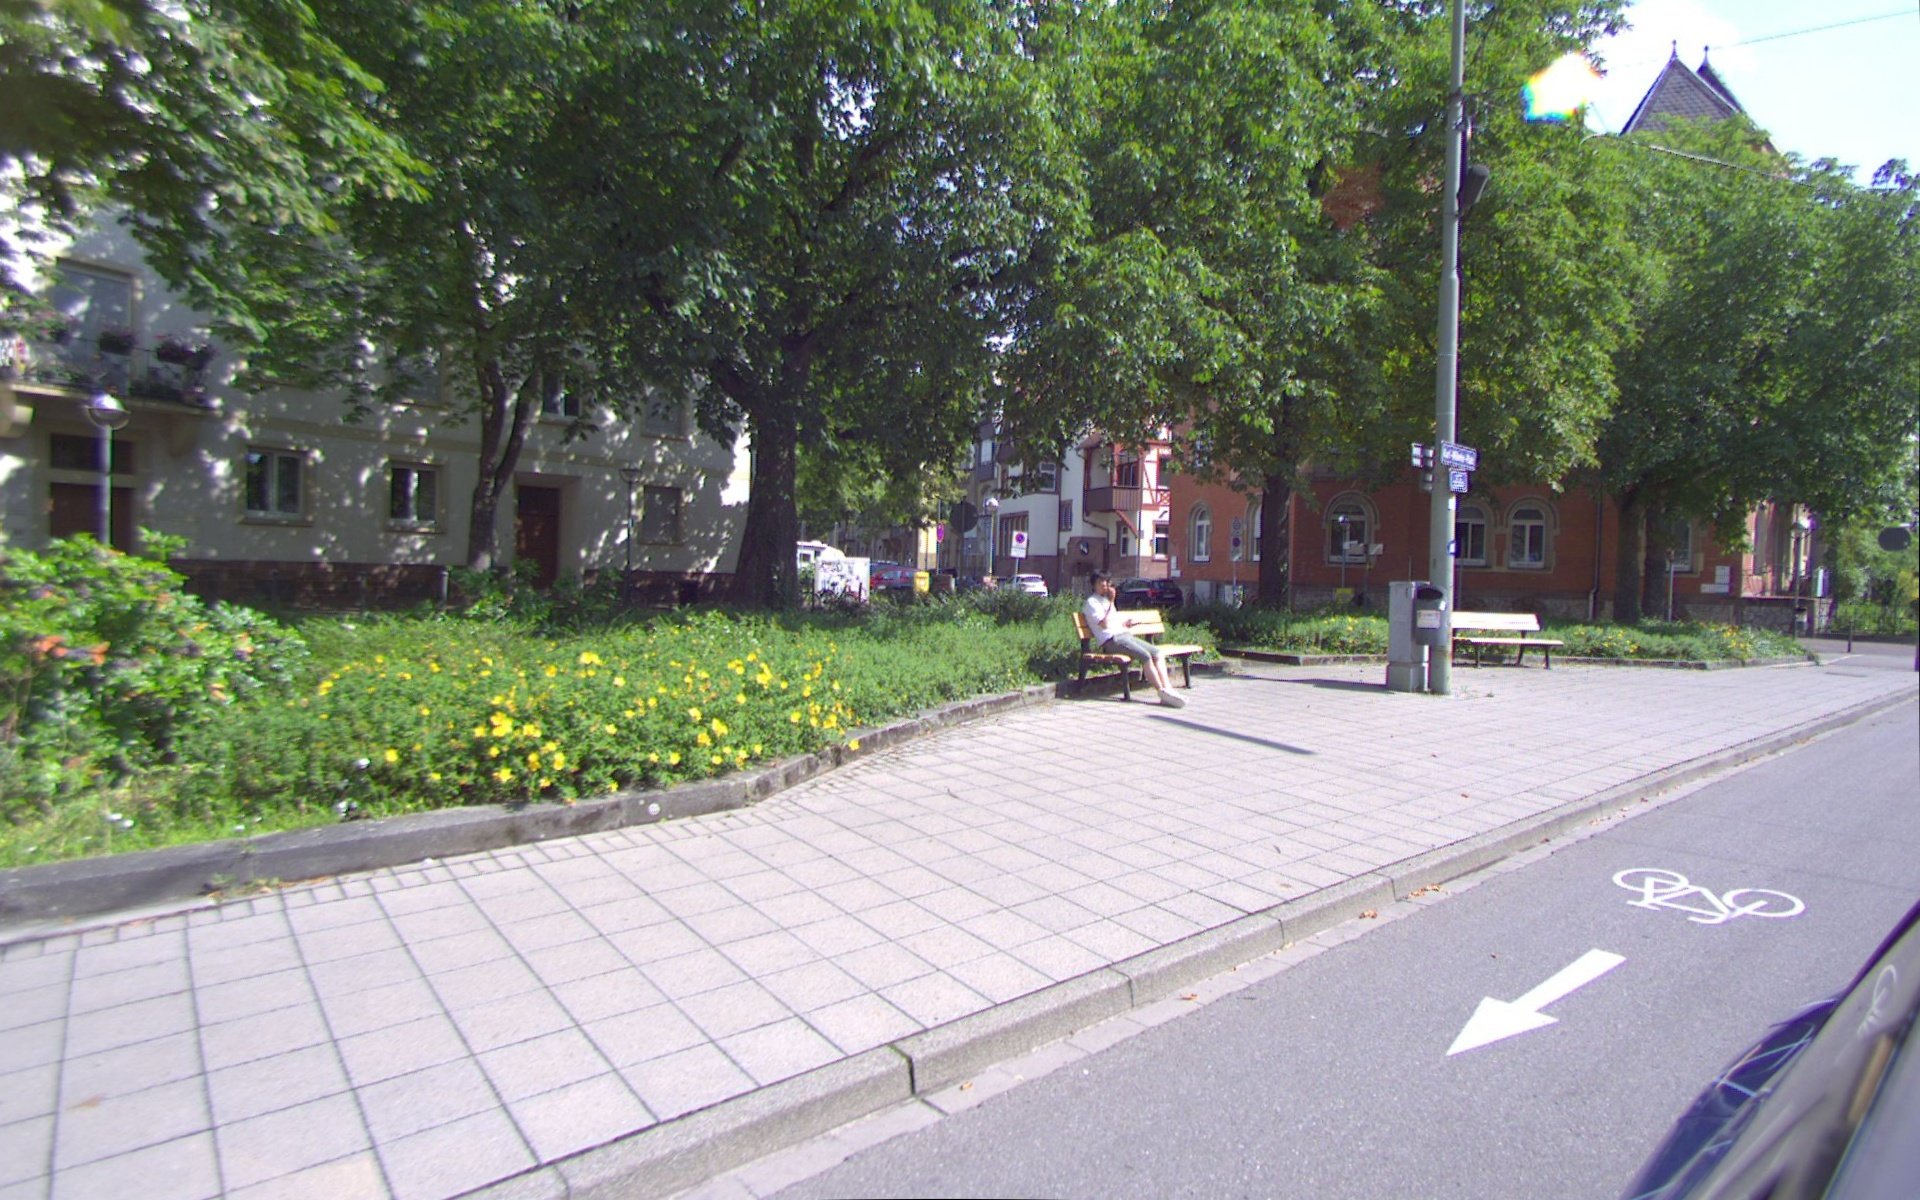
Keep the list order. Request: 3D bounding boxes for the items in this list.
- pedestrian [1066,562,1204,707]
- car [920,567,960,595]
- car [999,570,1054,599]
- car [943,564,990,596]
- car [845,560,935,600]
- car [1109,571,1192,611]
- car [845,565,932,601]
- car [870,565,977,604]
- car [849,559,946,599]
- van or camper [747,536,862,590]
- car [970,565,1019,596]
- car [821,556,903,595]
[{"bbox_3d":[1.706,0.308,9.985,0.549,1.284,1.194,0,4,-44],"label":"pedestrian"},{"bbox_3d":[-1.407,-1.327,70.141,1.690,1.860,3.677,1,2,-19],"label":"car"},{"bbox_3d":[3.600,-0.876,55.711,1.831,1.504,4.009,1,2,-14],"label":"car"},{"bbox_3d":[0.404,-1.327,64.906,1.742,1.927,4.010,1,2,-19],"label":"car"},{"bbox_3d":[-3.386,-0.977,48.850,3.915,1.816,1.983,1,1,-19],"label":"car"},{"bbox_3d":[7.946,-0.411,42.569,1.896,1.504,4.009,1,2,-14],"label":"car"},{"bbox_3d":[-3.055,-0.726,43.058,3.342,1.440,1.566,1,1,-21],"label":"car"},{"bbox_3d":[-1.473,-0.627,40.982,3.916,1.460,1.807,1,1,-21],"label":"car"},{"bbox_3d":[-2.859,-0.941,46.100,4.040,1.705,1.856,1,1,-21],"label":"car"},{"bbox_3d":[-9.590,-2.261,62.431,6.690,3.076,2.127,1,1,-20],"label":"van or camper"},{"bbox_3d":[1.999,-1.165,60.352,1.689,1.727,4.010,1,2,-17],"label":"car"},{"bbox_3d":[-5.144,-1.290,53.047,3.916,1.883,1.852,1,1,-20],"label":"car"}]
